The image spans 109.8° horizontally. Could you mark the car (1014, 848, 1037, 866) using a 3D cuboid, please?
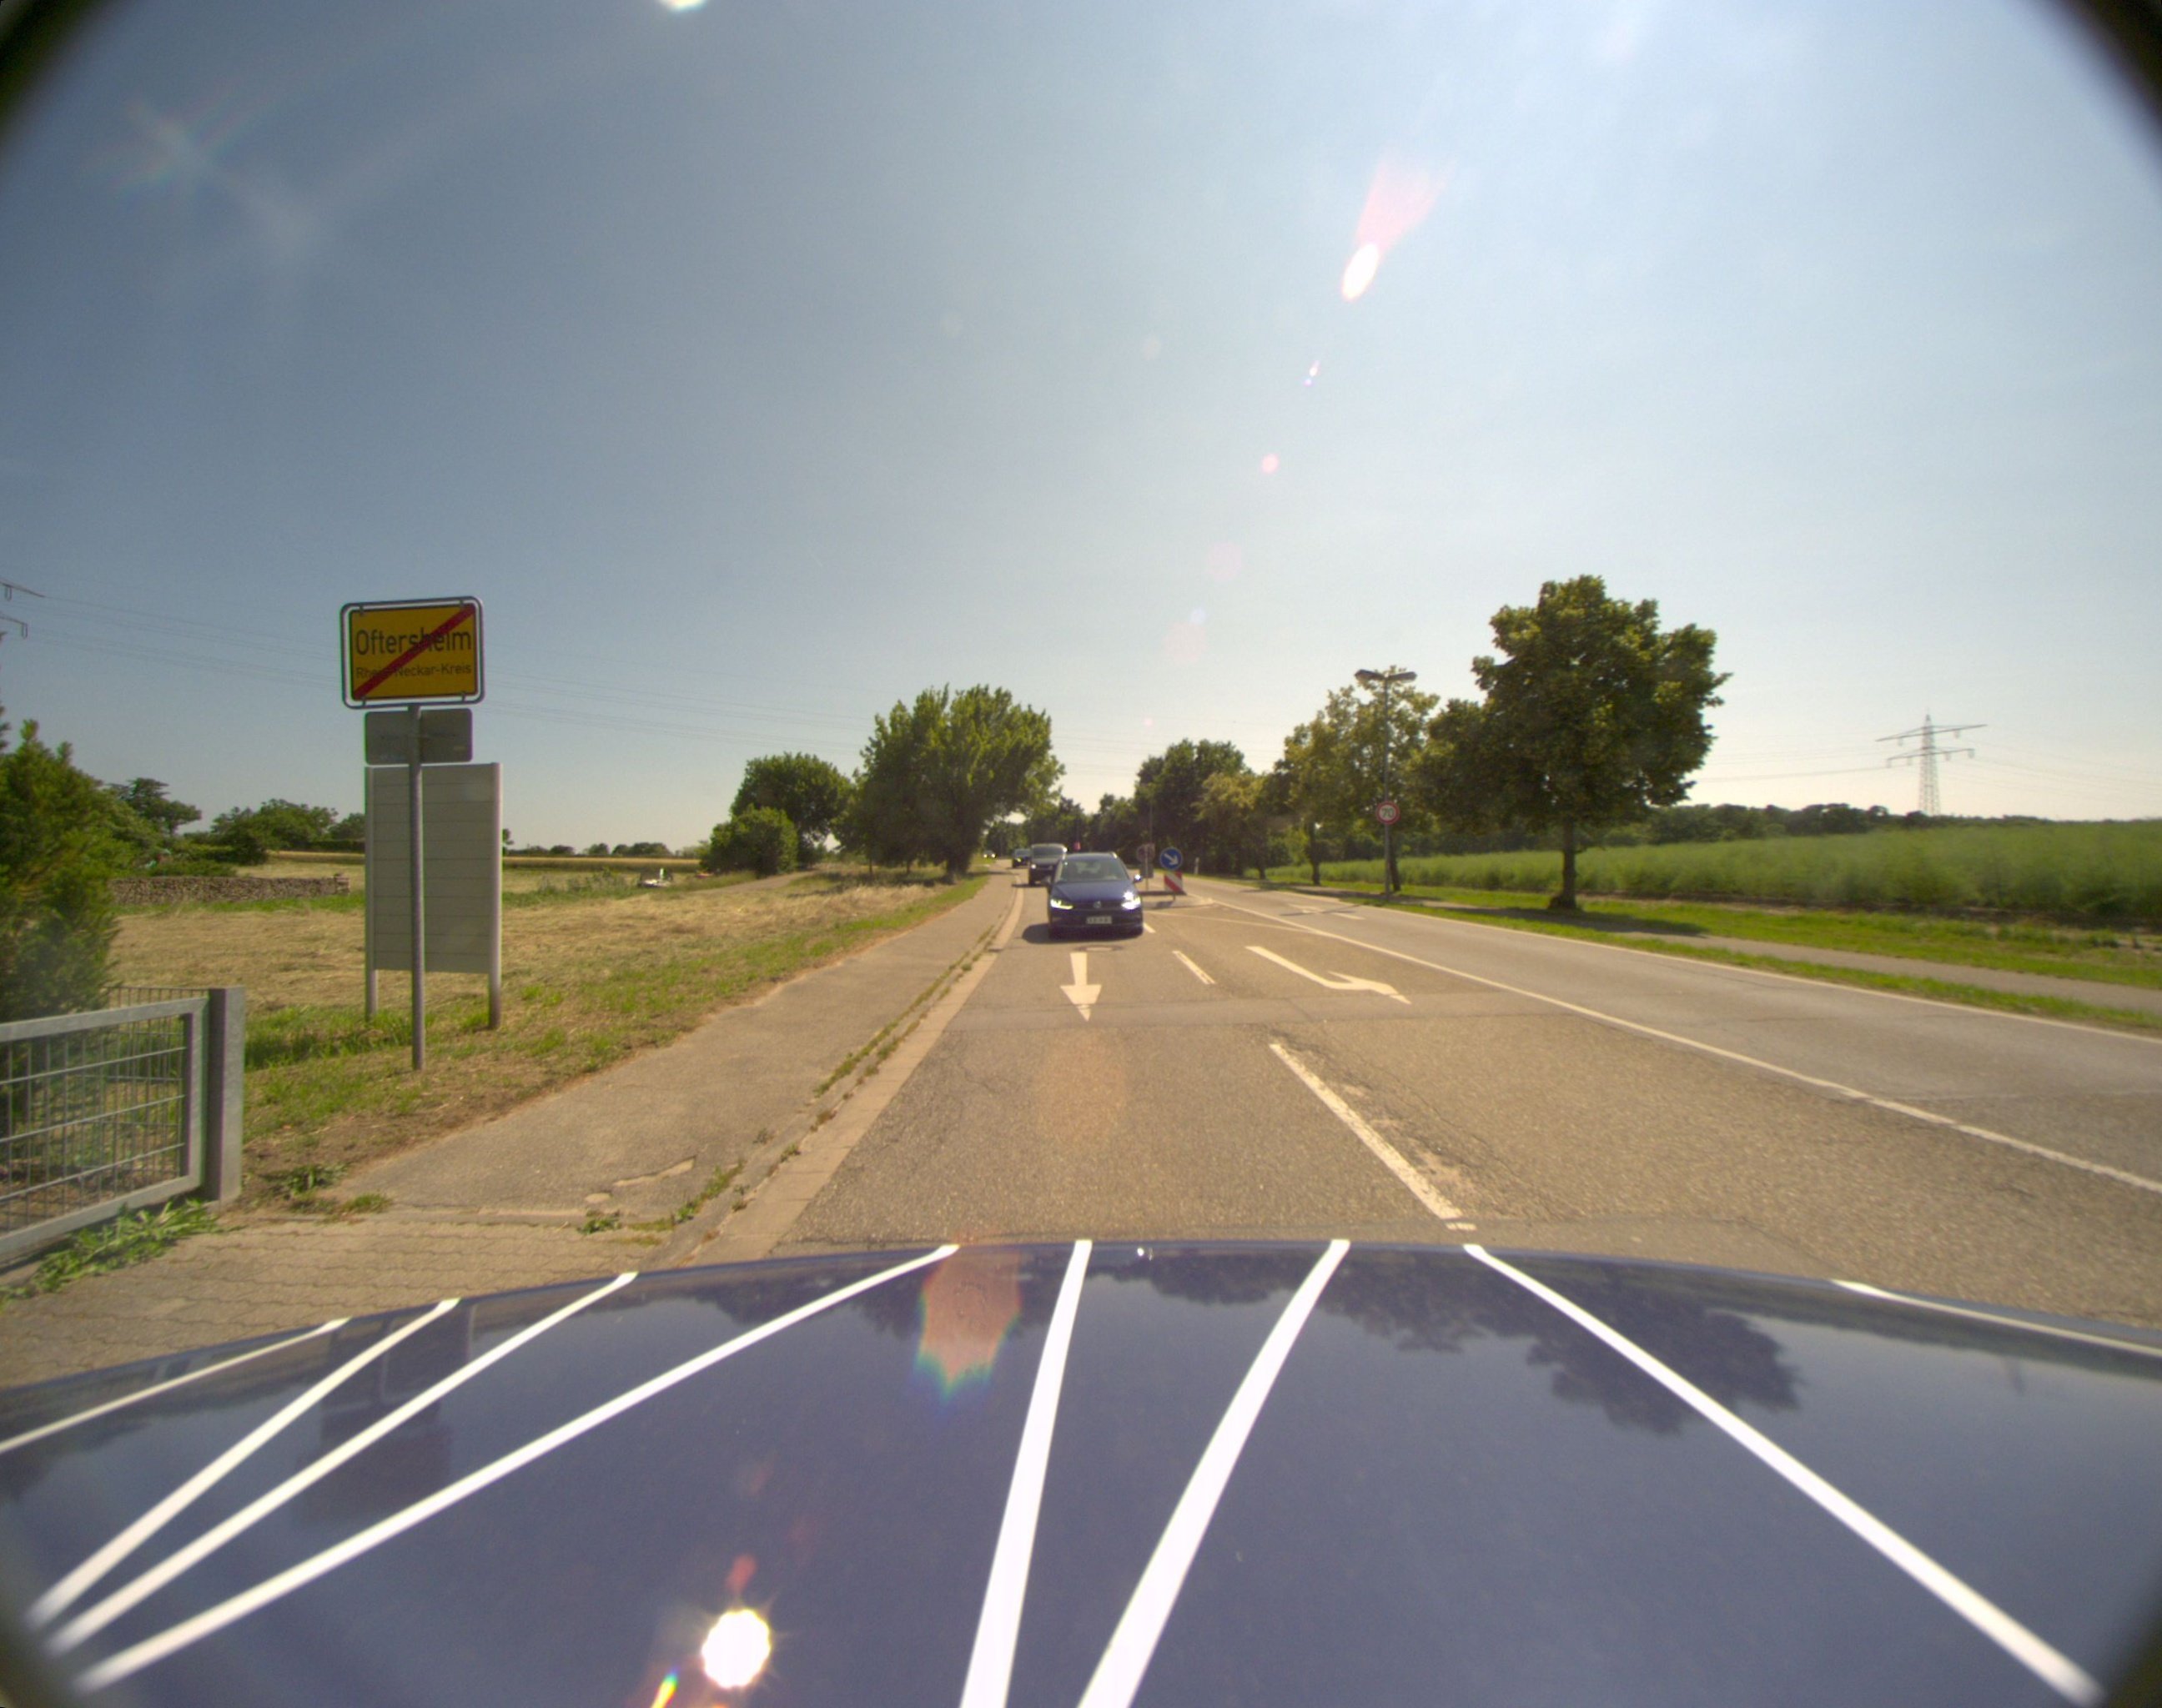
[{"bbox_3d":[-4.899,0.266,66.806,1.766,1.530,3.682,-1,0,-8],"label":"car"}]

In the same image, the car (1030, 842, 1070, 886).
[{"bbox_3d":[-1.495,0.449,36.645,1.765,1.953,4.261,-1,0,-2],"label":"car"}]

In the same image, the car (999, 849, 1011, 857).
[{"bbox_3d":[-16.144,-0.140,160.917,1.883,1.562,4.466,-1,-1,-15],"label":"car"}]

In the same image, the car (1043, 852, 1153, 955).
[{"bbox_3d":[0.251,0.817,14.800,1.764,1.520,4.421,-2,2,-1],"label":"car"}]

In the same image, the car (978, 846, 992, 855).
[{"bbox_3d":[-16.433,-0.601,130.354,2.000,1.522,3.996,-1,0,-12],"label":"car"}]
